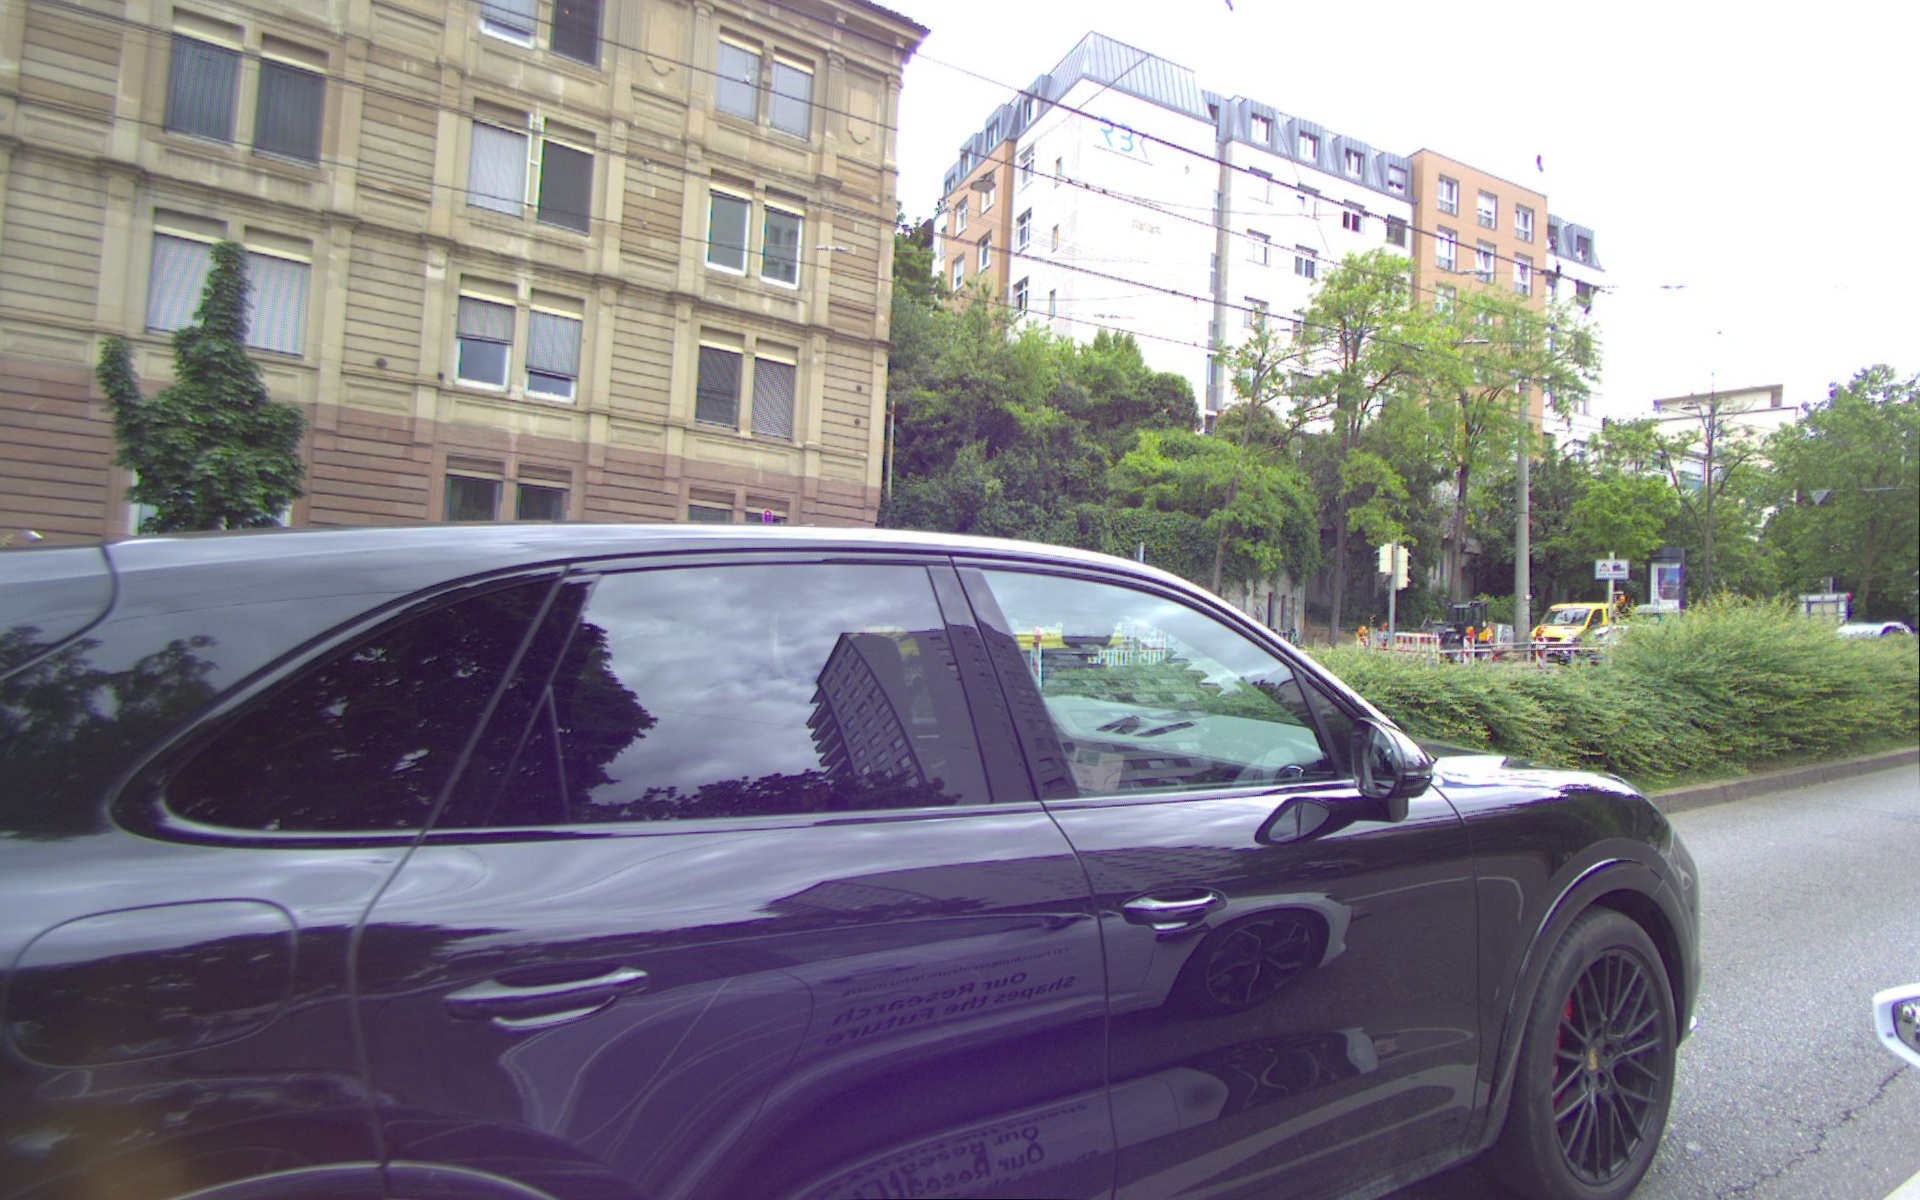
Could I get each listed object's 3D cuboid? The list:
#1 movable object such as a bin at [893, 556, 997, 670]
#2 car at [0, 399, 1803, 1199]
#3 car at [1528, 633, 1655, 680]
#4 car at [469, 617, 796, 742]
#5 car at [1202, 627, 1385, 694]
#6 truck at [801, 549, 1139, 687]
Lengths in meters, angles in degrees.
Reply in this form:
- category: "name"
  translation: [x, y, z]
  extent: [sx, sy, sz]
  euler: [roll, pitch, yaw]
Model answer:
- category: "movable object such as a bin"
  translation: [-0.419, 0.371, 26.775]
  extent: [2.010, 2.875, 1.980]
  euler: [2, -2, -36]
- category: "car"
  translation: [-0.106, 0.754, 2.520]
  extent: [4.727, 1.707, 2.017]
  euler: [3, -2, -31]
- category: "car"
  translation: [19.327, 1.732, 30.718]
  extent: [4.021, 1.340, 1.731]
  euler: [3, -2, -32]
- category: "car"
  translation: [-4.489, 1.026, 13.956]
  extent: [4.022, 1.507, 1.730]
  euler: [2, -2, -32]
- category: "car"
  translation: [7.440, 1.289, 22.324]
  extent: [4.022, 1.340, 1.730]
  euler: [1, -2, -33]
- category: "truck"
  translation: [0.358, 0.562, 22.217]
  extent: [7.079, 2.542, 2.901]
  euler: [4, -4, -33]
